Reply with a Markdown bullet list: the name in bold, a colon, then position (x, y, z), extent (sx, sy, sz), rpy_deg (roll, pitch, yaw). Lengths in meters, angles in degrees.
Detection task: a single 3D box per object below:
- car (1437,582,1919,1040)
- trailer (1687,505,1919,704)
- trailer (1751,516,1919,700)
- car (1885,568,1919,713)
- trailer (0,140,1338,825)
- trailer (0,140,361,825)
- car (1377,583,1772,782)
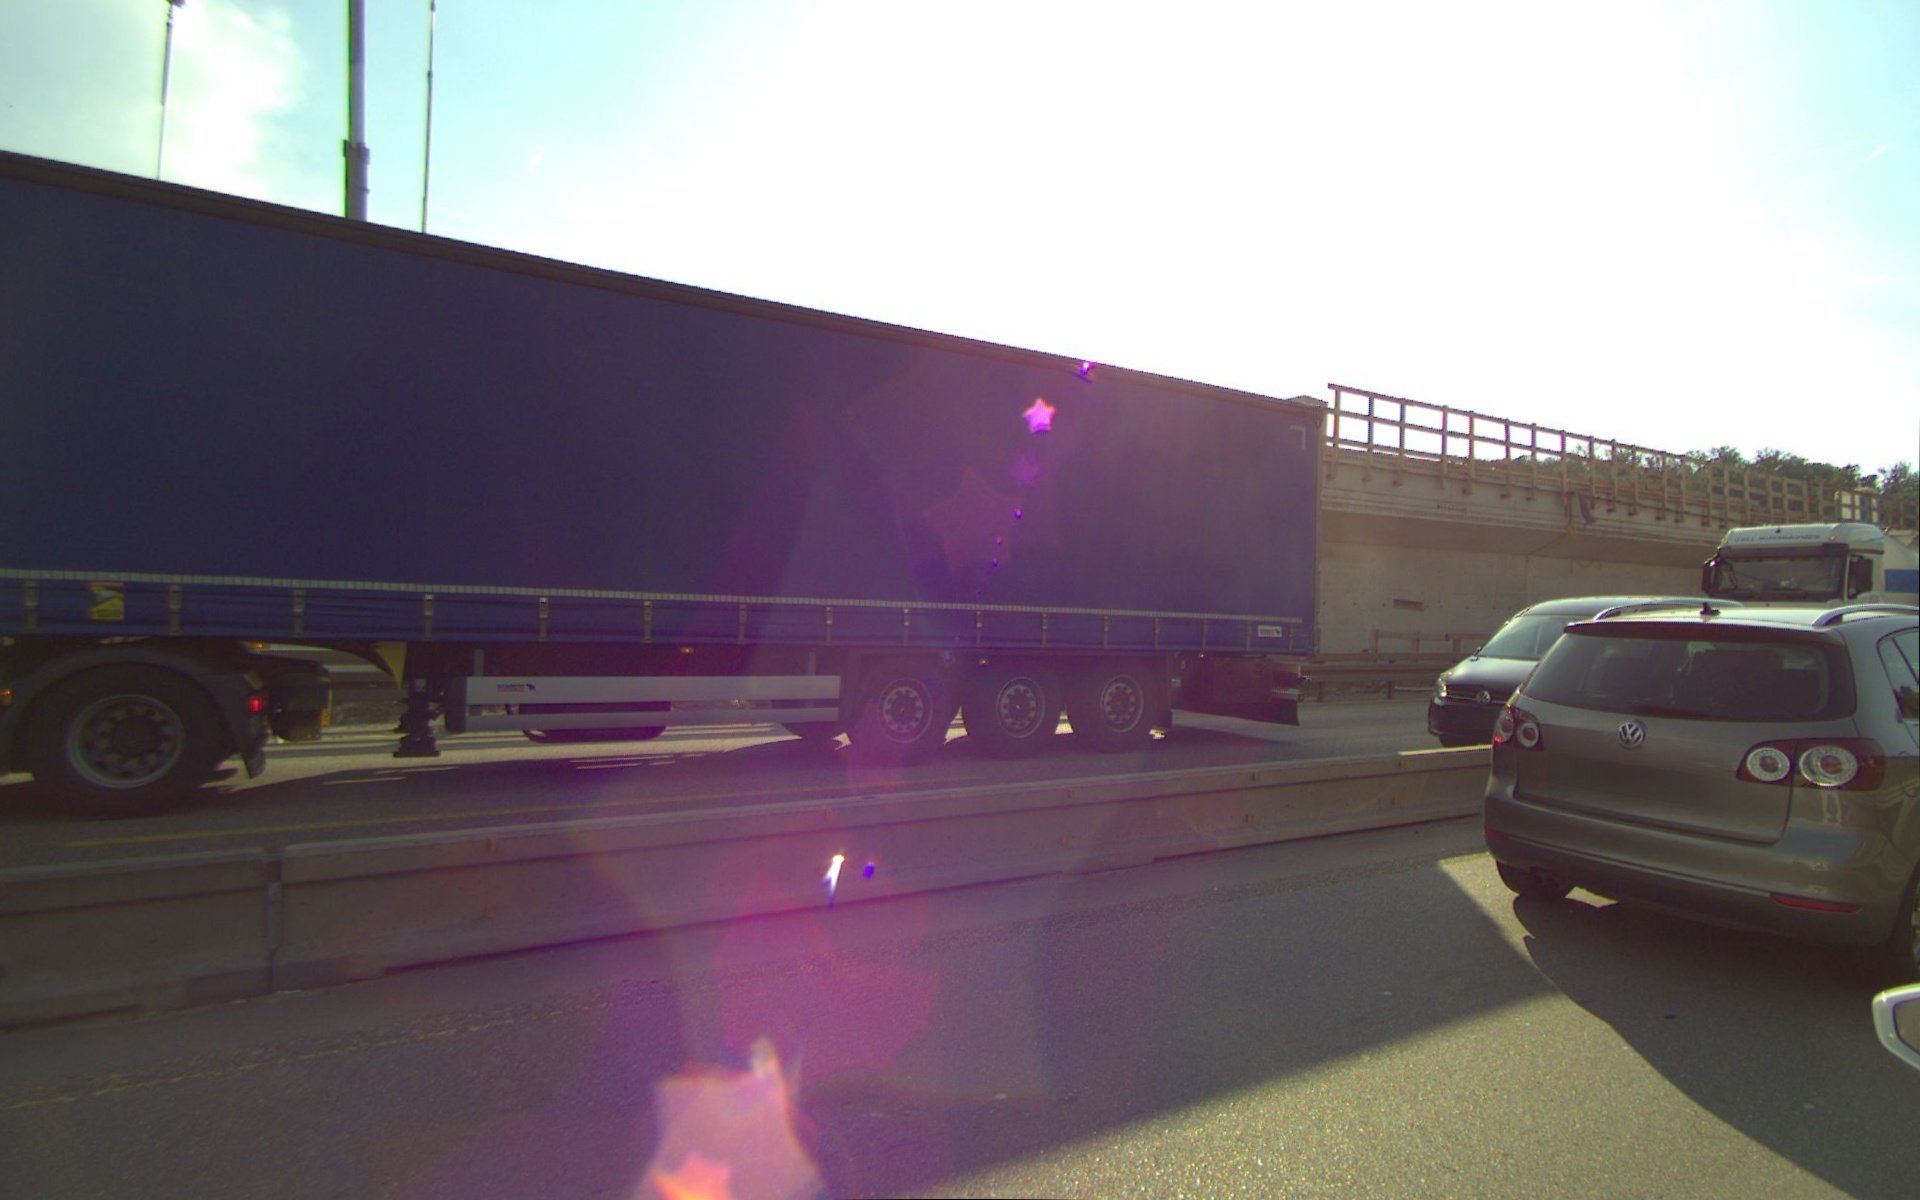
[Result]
- **car**: position (4.611, 0.821, 5.350), extent (4.223, 1.609, 1.672), rpy_deg (2, -1, -31)
- **trailer**: position (19.388, 0.162, 22.536), extent (6.355, 3.901, 2.639), rpy_deg (2, 0, -31)
- **trailer**: position (25.028, 0.350, 25.919), extent (13.288, 3.901, 2.639), rpy_deg (2, 0, -31)
- **car**: position (21.014, 0.859, 19.835), extent (7.324, 2.657, 1.984), rpy_deg (2, 0, -31)
- **trailer**: position (-2.062, -0.563, 9.891), extent (13.614, 4.090, 2.911), rpy_deg (2, 0, -31)
- **trailer**: position (-7.600, -0.747, 6.587), extent (6.150, 4.090, 2.911), rpy_deg (2, 0, -31)
- **car**: position (7.084, 0.834, 11.431), extent (4.797, 1.867, 1.772), rpy_deg (2, 0, -31)
